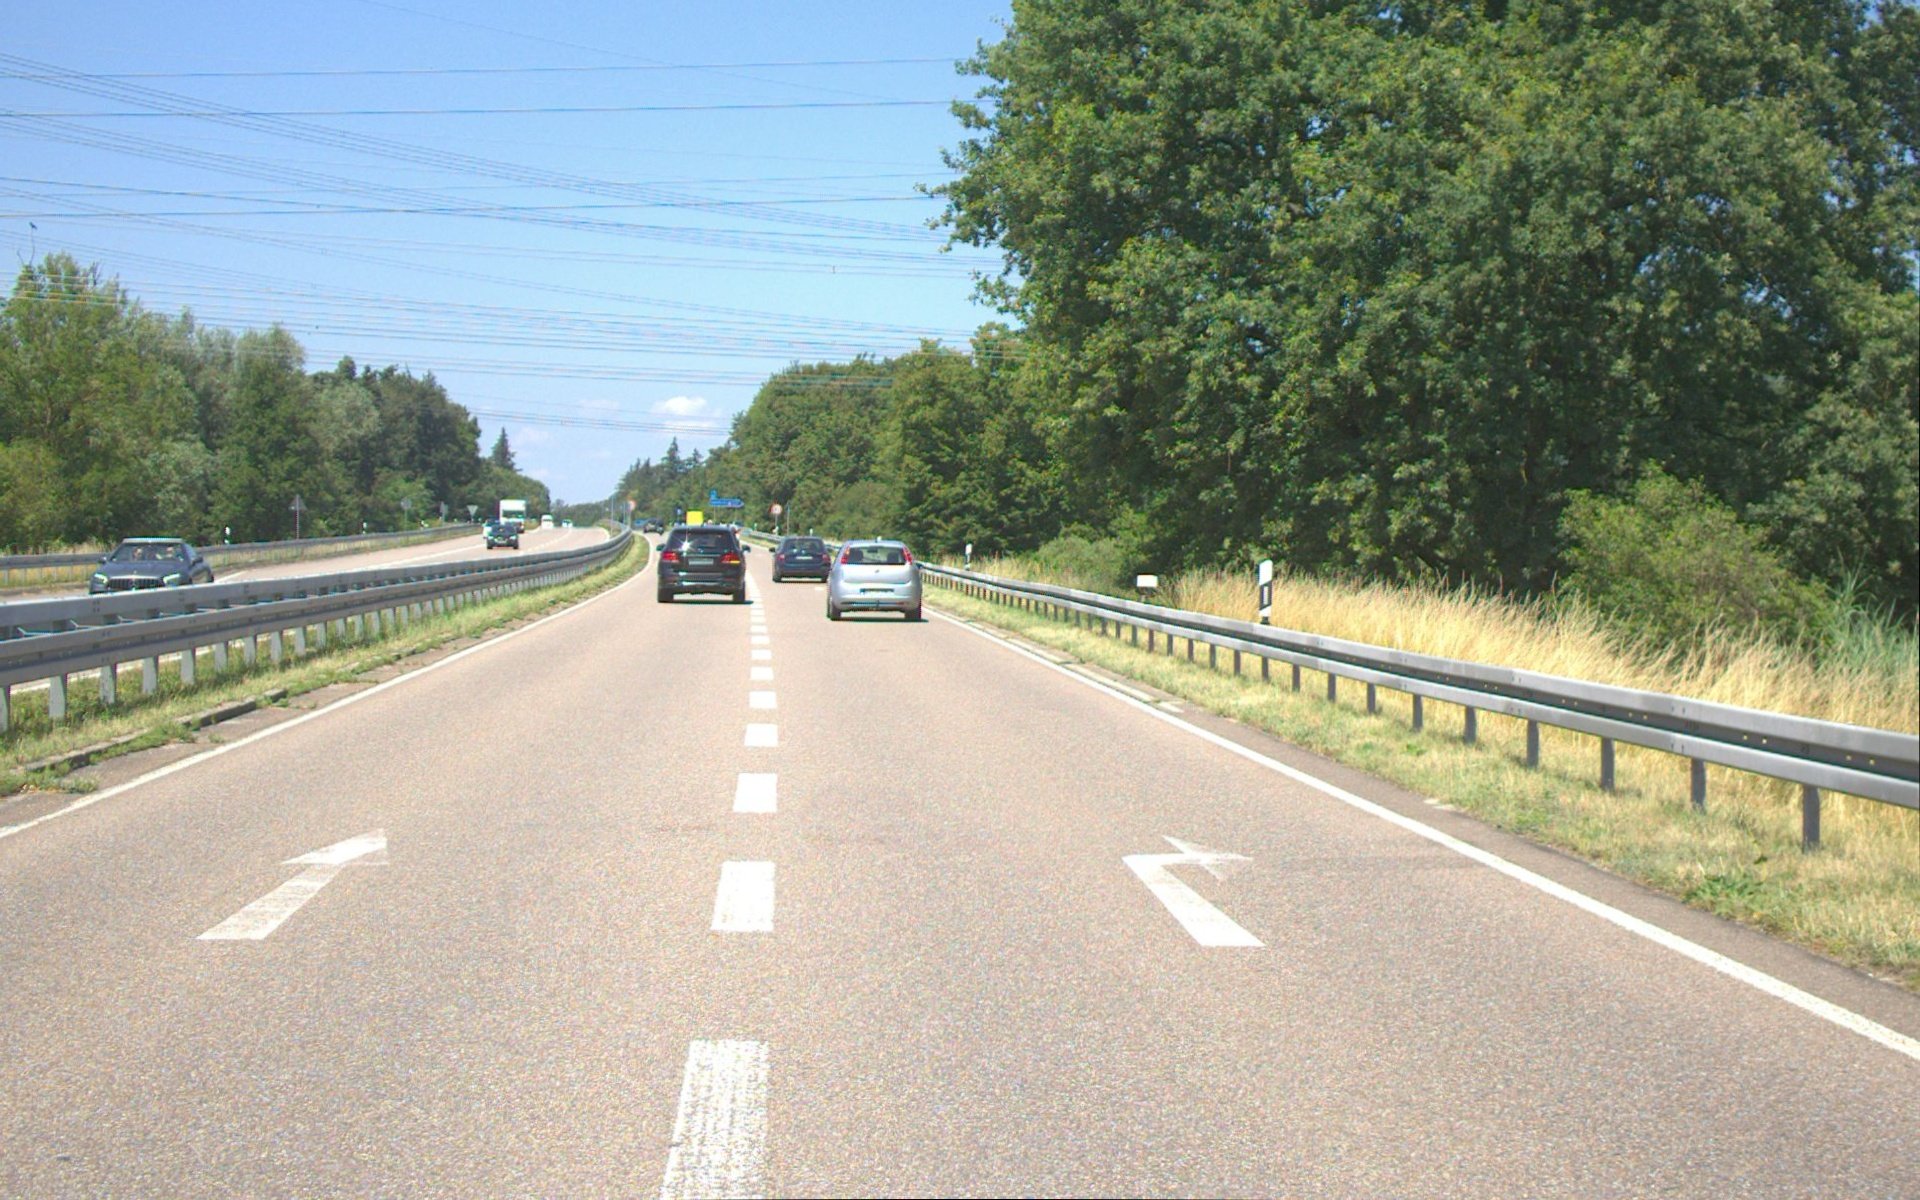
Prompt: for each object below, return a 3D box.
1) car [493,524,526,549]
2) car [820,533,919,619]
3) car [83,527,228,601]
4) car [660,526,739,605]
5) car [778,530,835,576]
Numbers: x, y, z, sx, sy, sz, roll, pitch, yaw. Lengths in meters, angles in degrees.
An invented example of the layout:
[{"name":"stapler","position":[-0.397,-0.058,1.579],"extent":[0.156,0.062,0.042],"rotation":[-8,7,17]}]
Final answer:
[{"name":"car","position":[-26.531,-3.736,202.659],"extent":[1.844,1.408,4.682],"rotation":[1,1,-7]},{"name":"car","position":[-1.690,-0.461,63.472],"extent":[1.640,1.463,3.419],"rotation":[3,1,-3]},{"name":"car","position":[-15.666,-0.727,67.151],"extent":[1.924,1.380,4.658],"rotation":[0,1,-2]},{"name":"car","position":[-5.811,-0.784,76.938],"extent":[1.640,1.648,3.574],"rotation":[3,1,-4]},{"name":"car","position":[-4.750,-1.470,106.918],"extent":[1.640,1.338,3.574],"rotation":[3,1,-1]}]
